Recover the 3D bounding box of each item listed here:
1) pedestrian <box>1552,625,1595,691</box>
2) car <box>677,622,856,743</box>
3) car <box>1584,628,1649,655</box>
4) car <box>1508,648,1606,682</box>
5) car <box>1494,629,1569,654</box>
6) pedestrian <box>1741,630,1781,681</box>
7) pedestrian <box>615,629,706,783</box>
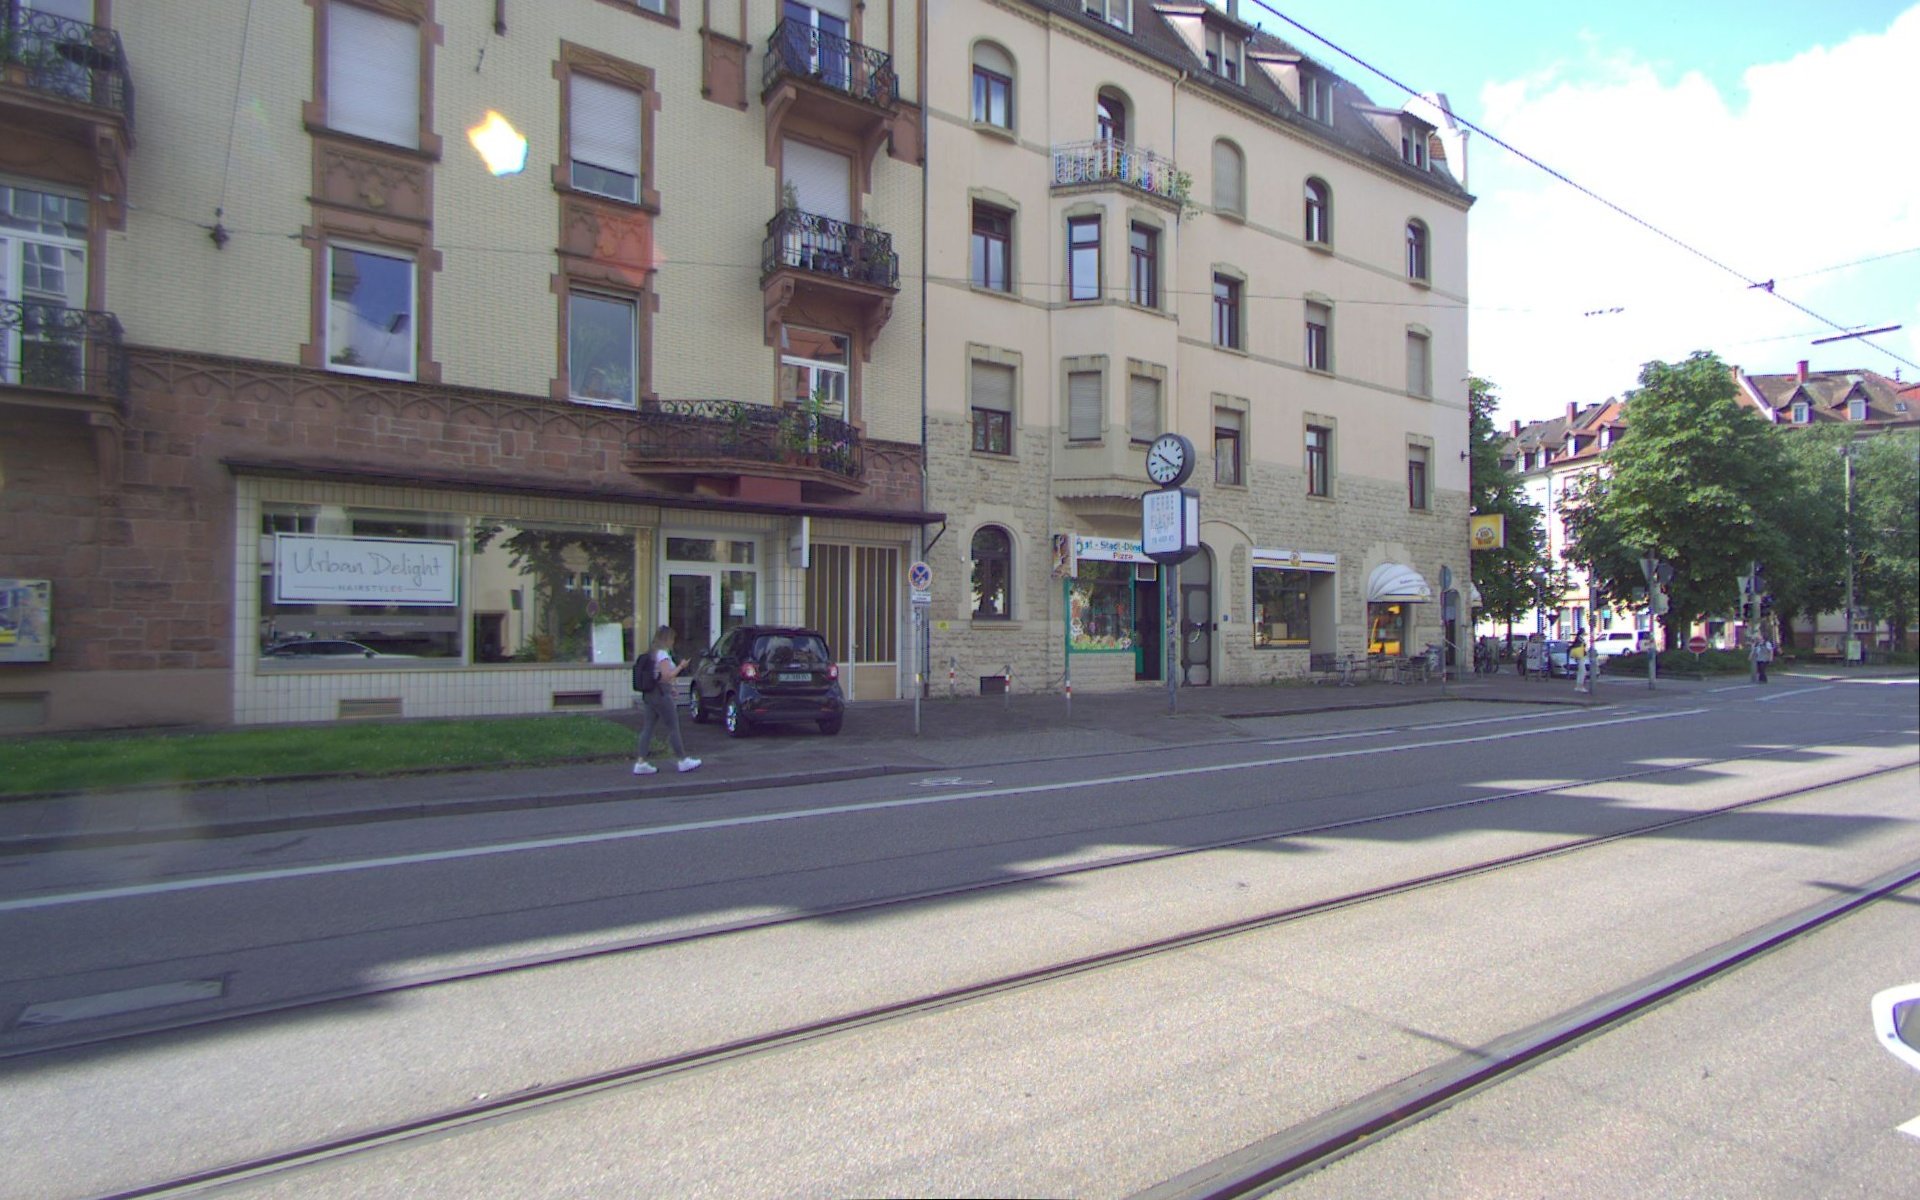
[{"bbox_3d":[16.901,1.596,27.681,0.790,1.777,0.681,1,-2,-25],"label":"pedestrian"},{"bbox_3d":[-3.023,1.149,15.270,1.716,1.505,3.162,1,1,-30],"label":"car"},{"bbox_3d":[48.539,3.044,74.349,1.962,1.929,3.997,0,-2,-6],"label":"car"},{"bbox_3d":[23.067,2.480,38.967,1.645,1.198,4.002,0,-2,4],"label":"car"},{"bbox_3d":[38.715,2.818,68.158,1.976,1.617,3.970,1,-2,-29],"label":"car"},{"bbox_3d":[27.678,1.917,34.718,0.709,1.728,0.819,1,-2,-25],"label":"pedestrian"},{"bbox_3d":[-3.281,1.123,10.987,0.757,1.562,0.752,1,2,-32],"label":"pedestrian"}]
